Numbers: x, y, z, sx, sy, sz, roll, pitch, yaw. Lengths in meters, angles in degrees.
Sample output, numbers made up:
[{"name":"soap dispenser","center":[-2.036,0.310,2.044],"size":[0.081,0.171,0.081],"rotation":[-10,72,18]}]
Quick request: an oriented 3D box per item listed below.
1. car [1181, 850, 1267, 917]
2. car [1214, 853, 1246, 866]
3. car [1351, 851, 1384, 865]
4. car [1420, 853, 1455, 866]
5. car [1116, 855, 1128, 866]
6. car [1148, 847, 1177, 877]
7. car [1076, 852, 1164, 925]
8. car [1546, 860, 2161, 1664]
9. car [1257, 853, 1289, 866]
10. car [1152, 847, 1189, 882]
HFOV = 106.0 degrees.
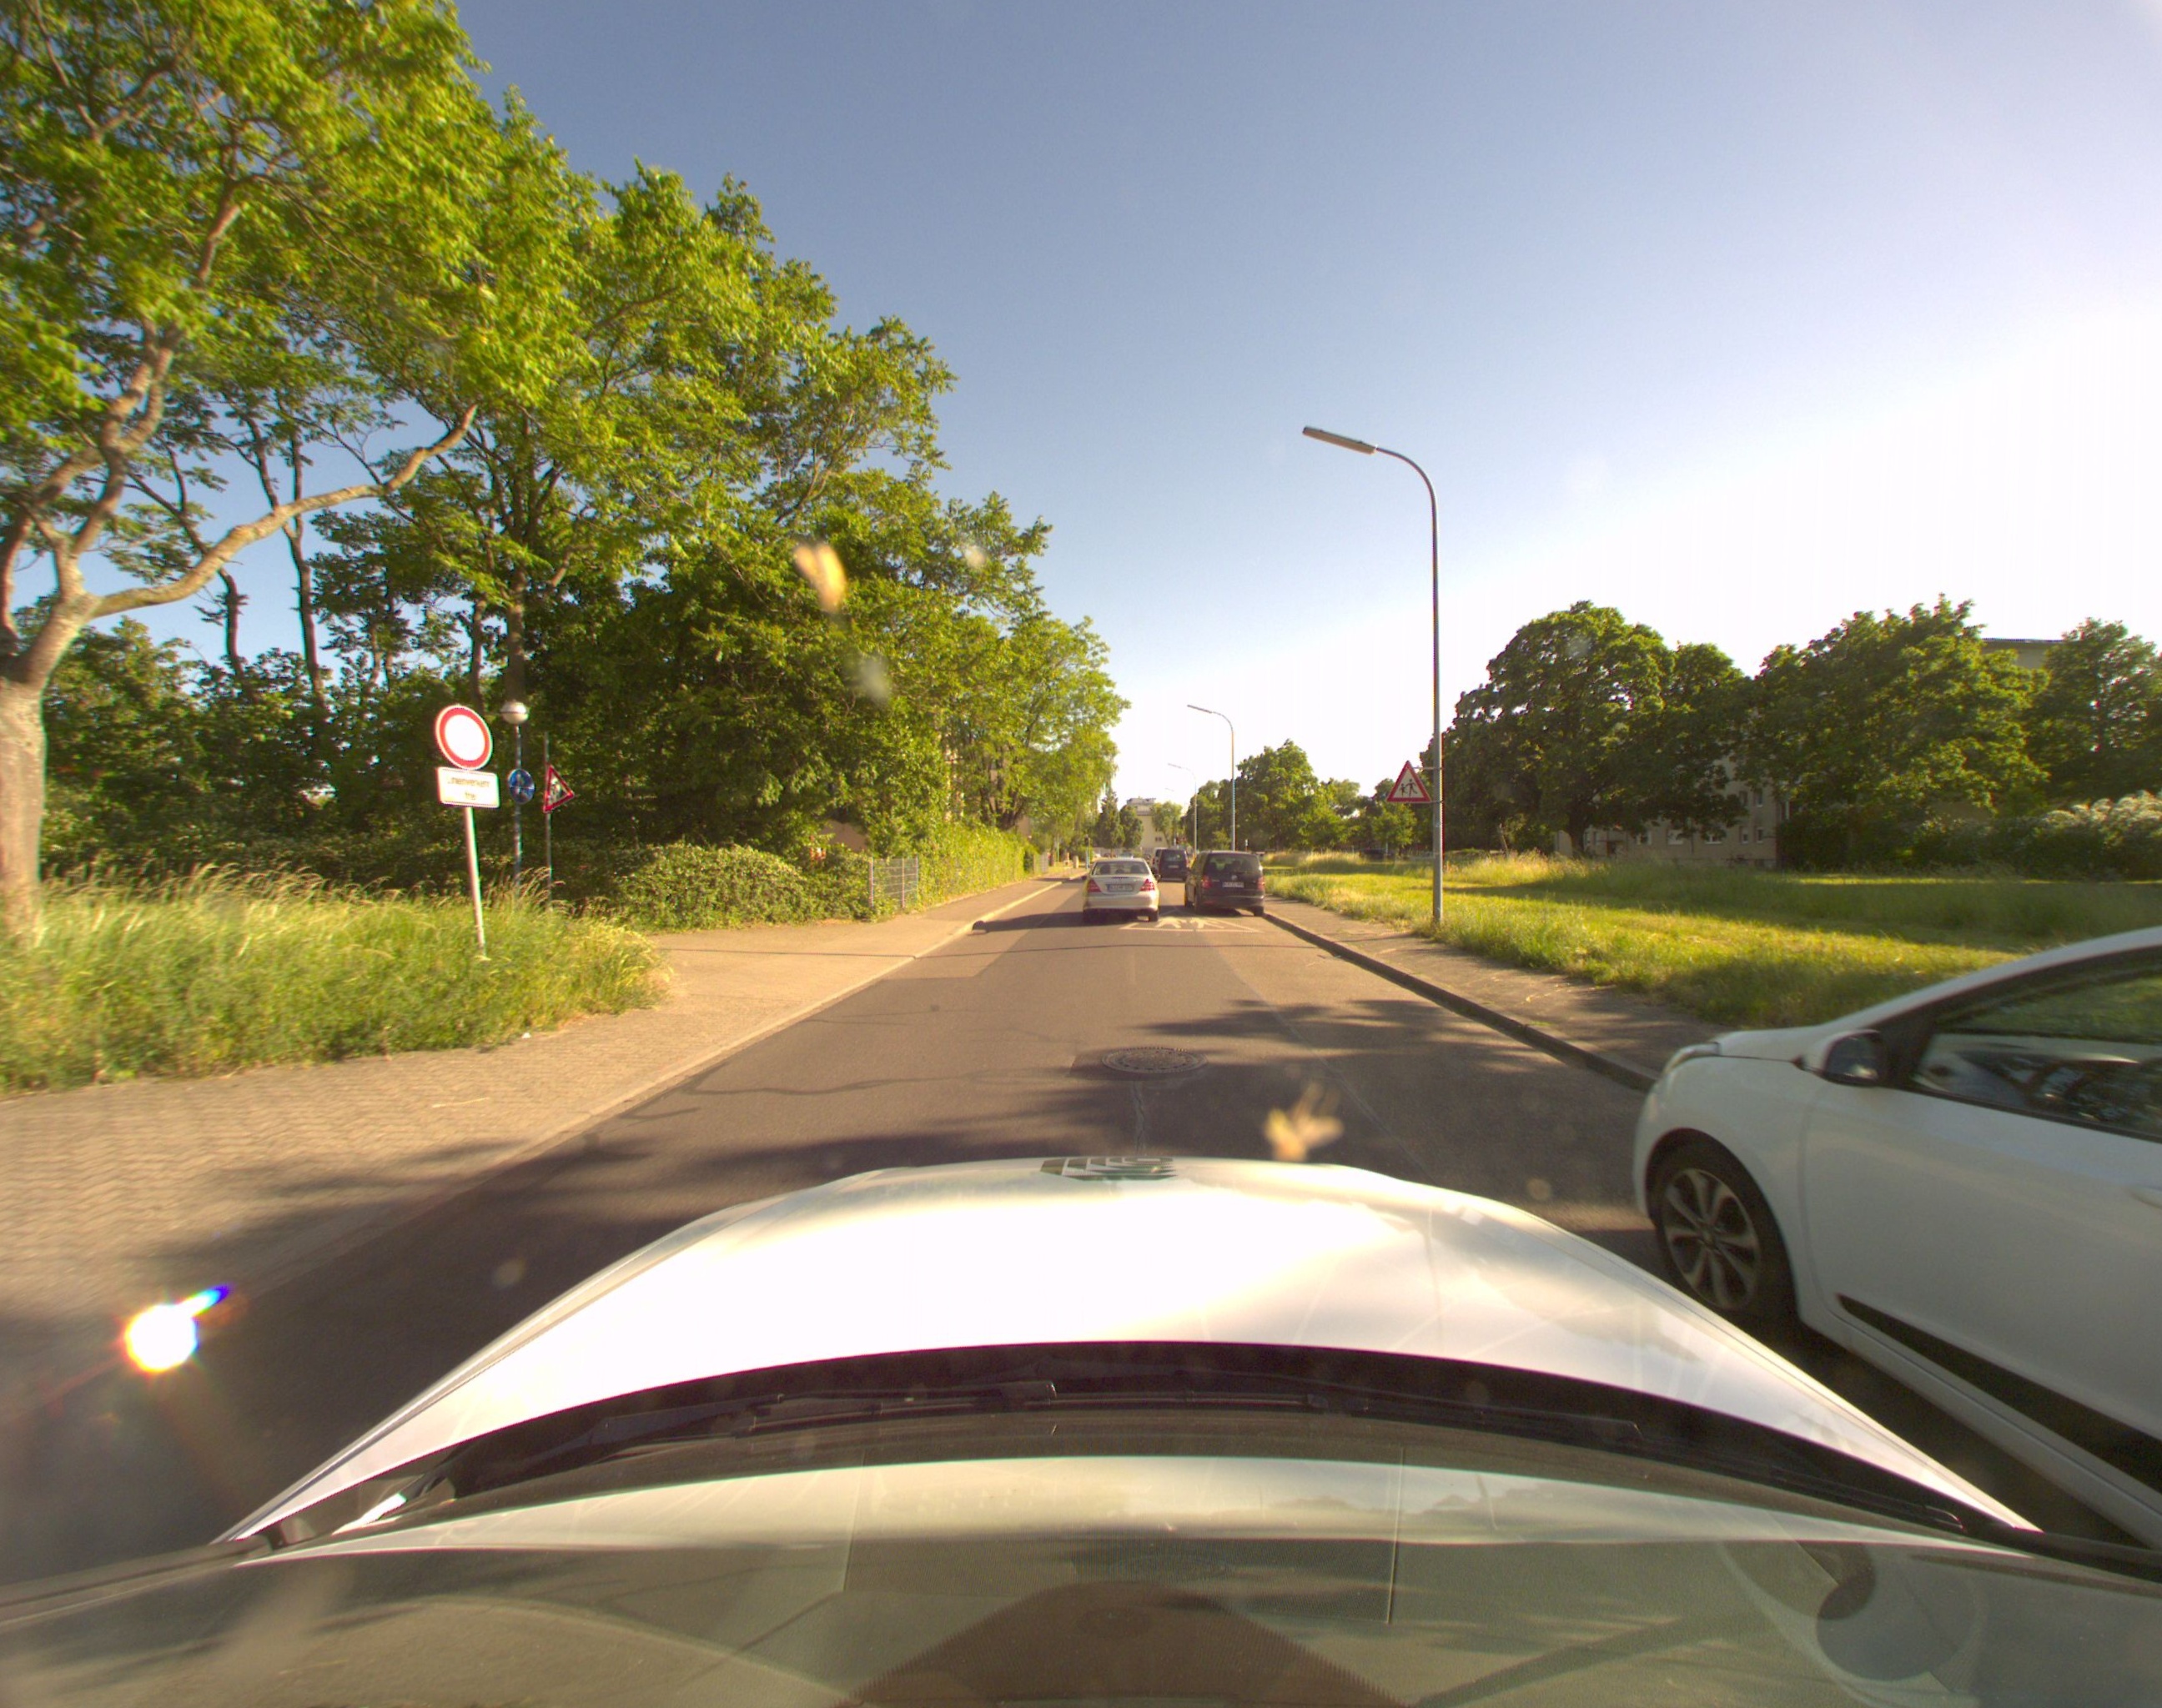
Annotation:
[{"name":"car","center":[3.736,0.697,21.819],"size":[1.692,1.610,4.001],"rotation":[0,0,1]},{"name":"car","center":[18.352,0.696,100.255],"size":[3.673,1.442,1.707],"rotation":[-1,-2,18]},{"name":"car","center":[33.947,0.456,96.673],"size":[3.673,1.618,1.707],"rotation":[-1,-2,18]},{"name":"car","center":[44.077,0.678,100.741],"size":[3.678,1.618,1.705],"rotation":[-1,-2,11]},{"name":"car","center":[6.522,1.050,129.055],"size":[1.877,1.728,4.002],"rotation":[0,-2,2]},{"name":"car","center":[5.350,0.487,53.817],"size":[1.692,1.851,3.853],"rotation":[2,0,2]},{"name":"car","center":[1.001,0.740,19.375],"size":[1.808,1.463,4.366],"rotation":[-2,0,5]},{"name":"car","center":[2.876,0.776,1.744],"size":[1.715,1.479,3.742],"rotation":[1,0,2]},{"name":"car","center":[23.410,0.678,99.145],"size":[3.673,1.471,1.707],"rotation":[-1,-2,18]},{"name":"car","center":[4.758,0.540,43.724],"size":[1.692,1.759,3.853],"rotation":[2,0,2]}]
